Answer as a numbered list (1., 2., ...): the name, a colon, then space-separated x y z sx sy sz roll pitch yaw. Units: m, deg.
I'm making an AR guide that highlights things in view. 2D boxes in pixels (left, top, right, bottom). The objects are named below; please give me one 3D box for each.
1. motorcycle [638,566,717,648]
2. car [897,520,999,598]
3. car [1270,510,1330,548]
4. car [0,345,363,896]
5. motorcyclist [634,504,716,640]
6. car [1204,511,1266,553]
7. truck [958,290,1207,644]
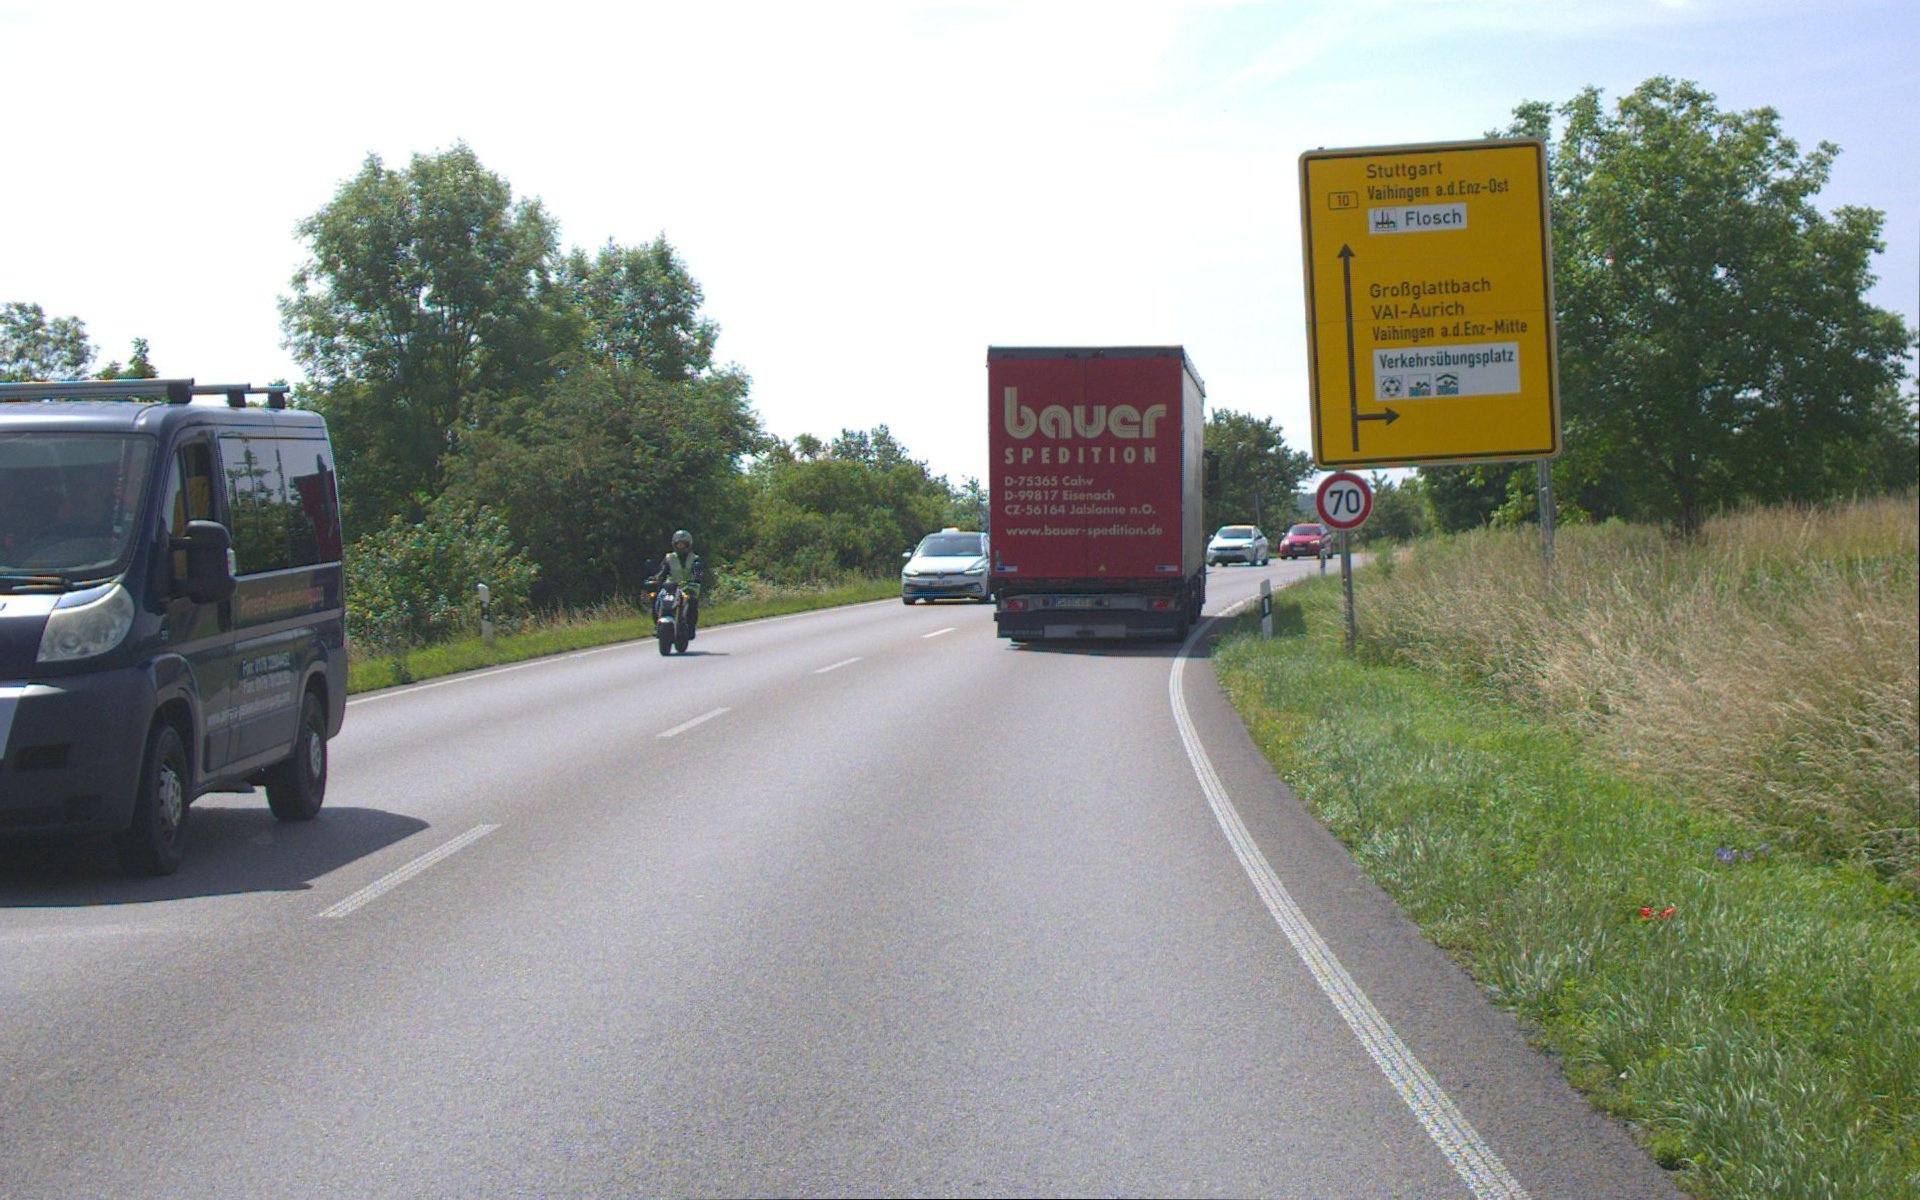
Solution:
1. motorcycle: -3.597 0.076 43.979 0.757 0.991 2.280 0 1 2
2. car: -0.215 -0.869 70.963 1.791 1.517 4.160 -1 1 4
3. car: 13.718 -2.858 138.742 1.821 1.393 4.180 -1 2 14
4. car: -4.505 0.046 16.815 2.171 2.295 4.907 -1 1 1
5. motorcyclist: -3.639 -0.365 43.990 0.918 1.712 0.963 -1 1 1
6. car: 9.880 -2.443 123.247 1.751 1.409 3.771 -1 2 12
7. truck: 1.934 -1.774 50.071 3.112 4.490 12.166 1 1 3
